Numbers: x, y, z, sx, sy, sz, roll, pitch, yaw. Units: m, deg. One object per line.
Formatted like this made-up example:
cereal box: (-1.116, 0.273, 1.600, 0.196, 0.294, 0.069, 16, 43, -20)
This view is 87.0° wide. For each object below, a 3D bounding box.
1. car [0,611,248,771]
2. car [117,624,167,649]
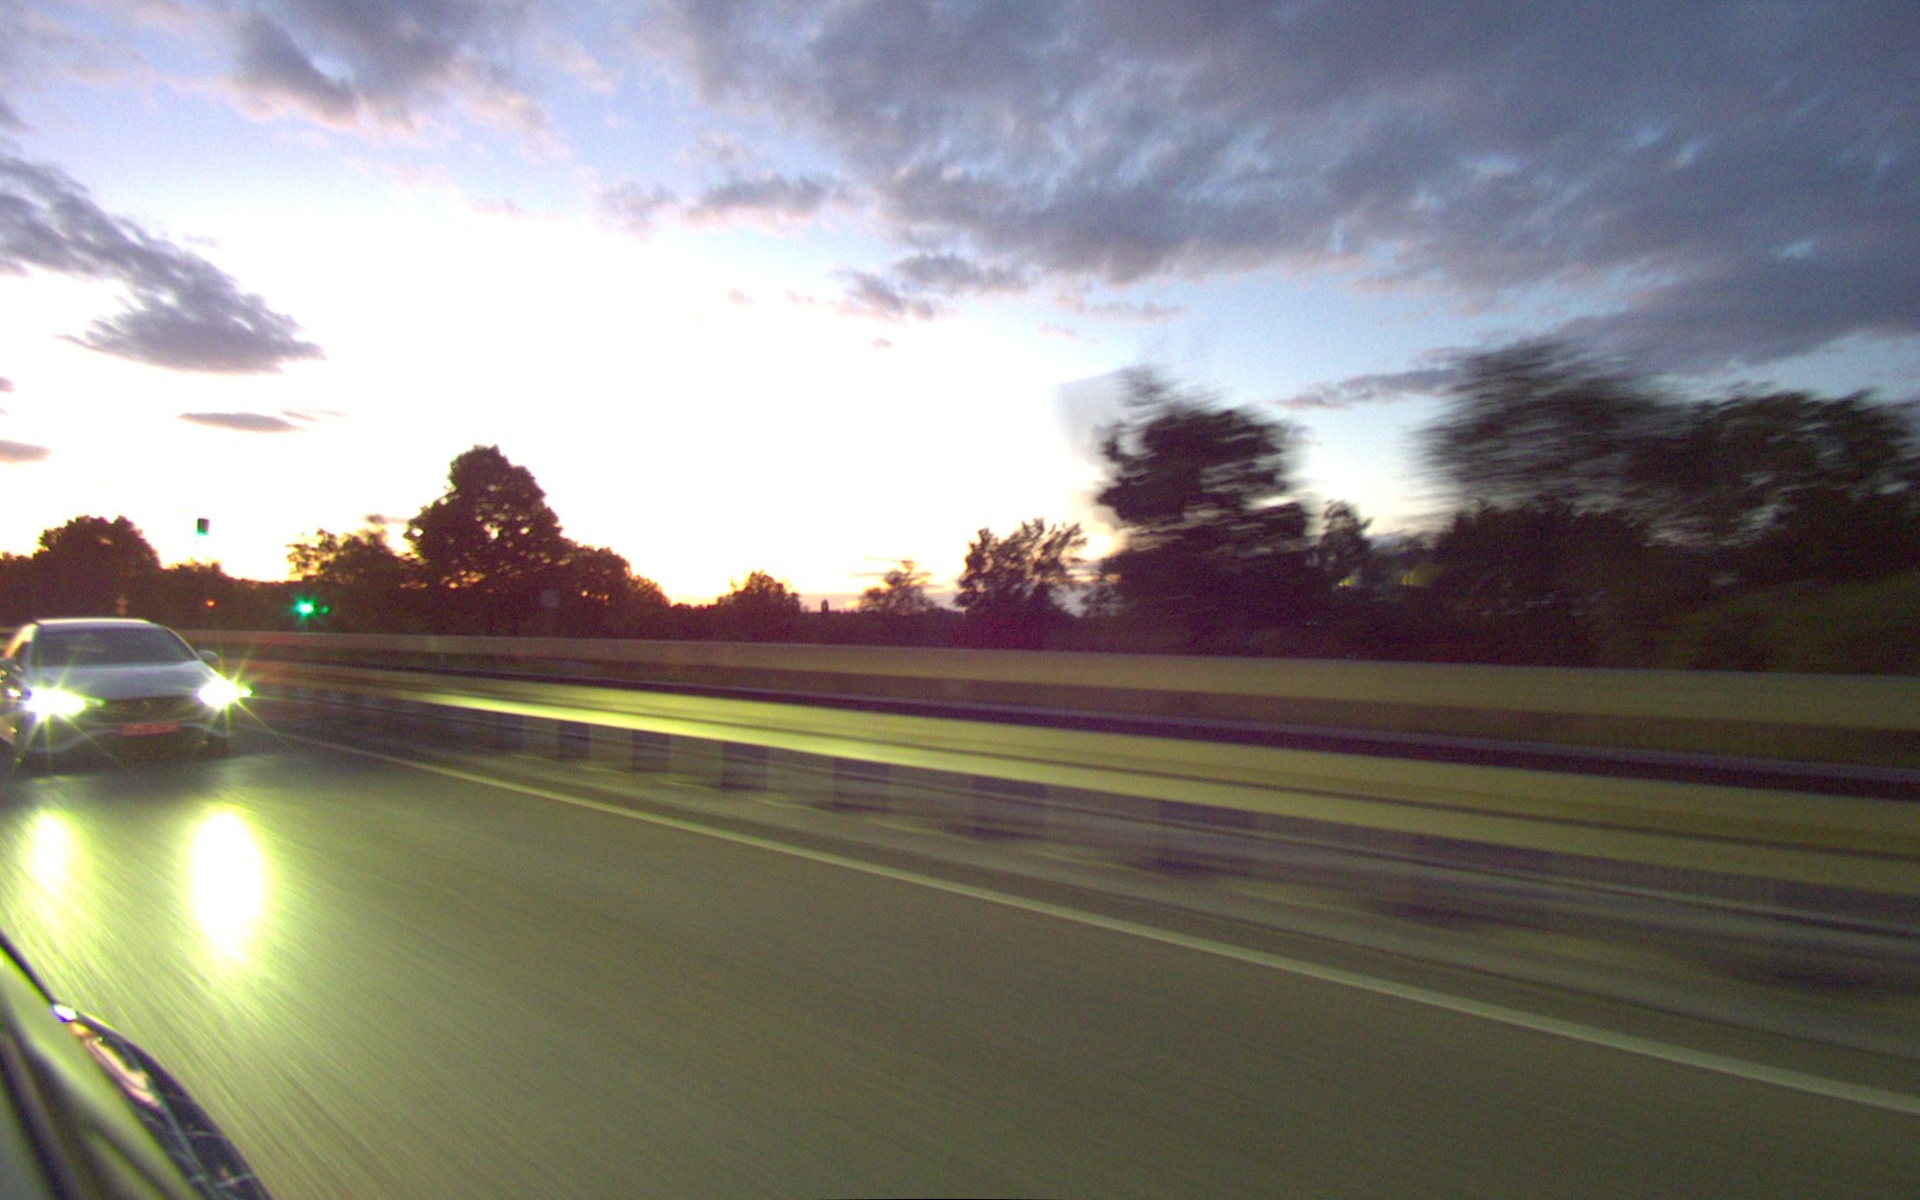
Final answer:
car: (-9.862, 0.913, 11.535, 4.643, 1.447, 1.796, -2, -1, 41)
car: (-50.664, 2.226, 62.666, 4.026, 1.395, 1.635, -1, 0, 40)
